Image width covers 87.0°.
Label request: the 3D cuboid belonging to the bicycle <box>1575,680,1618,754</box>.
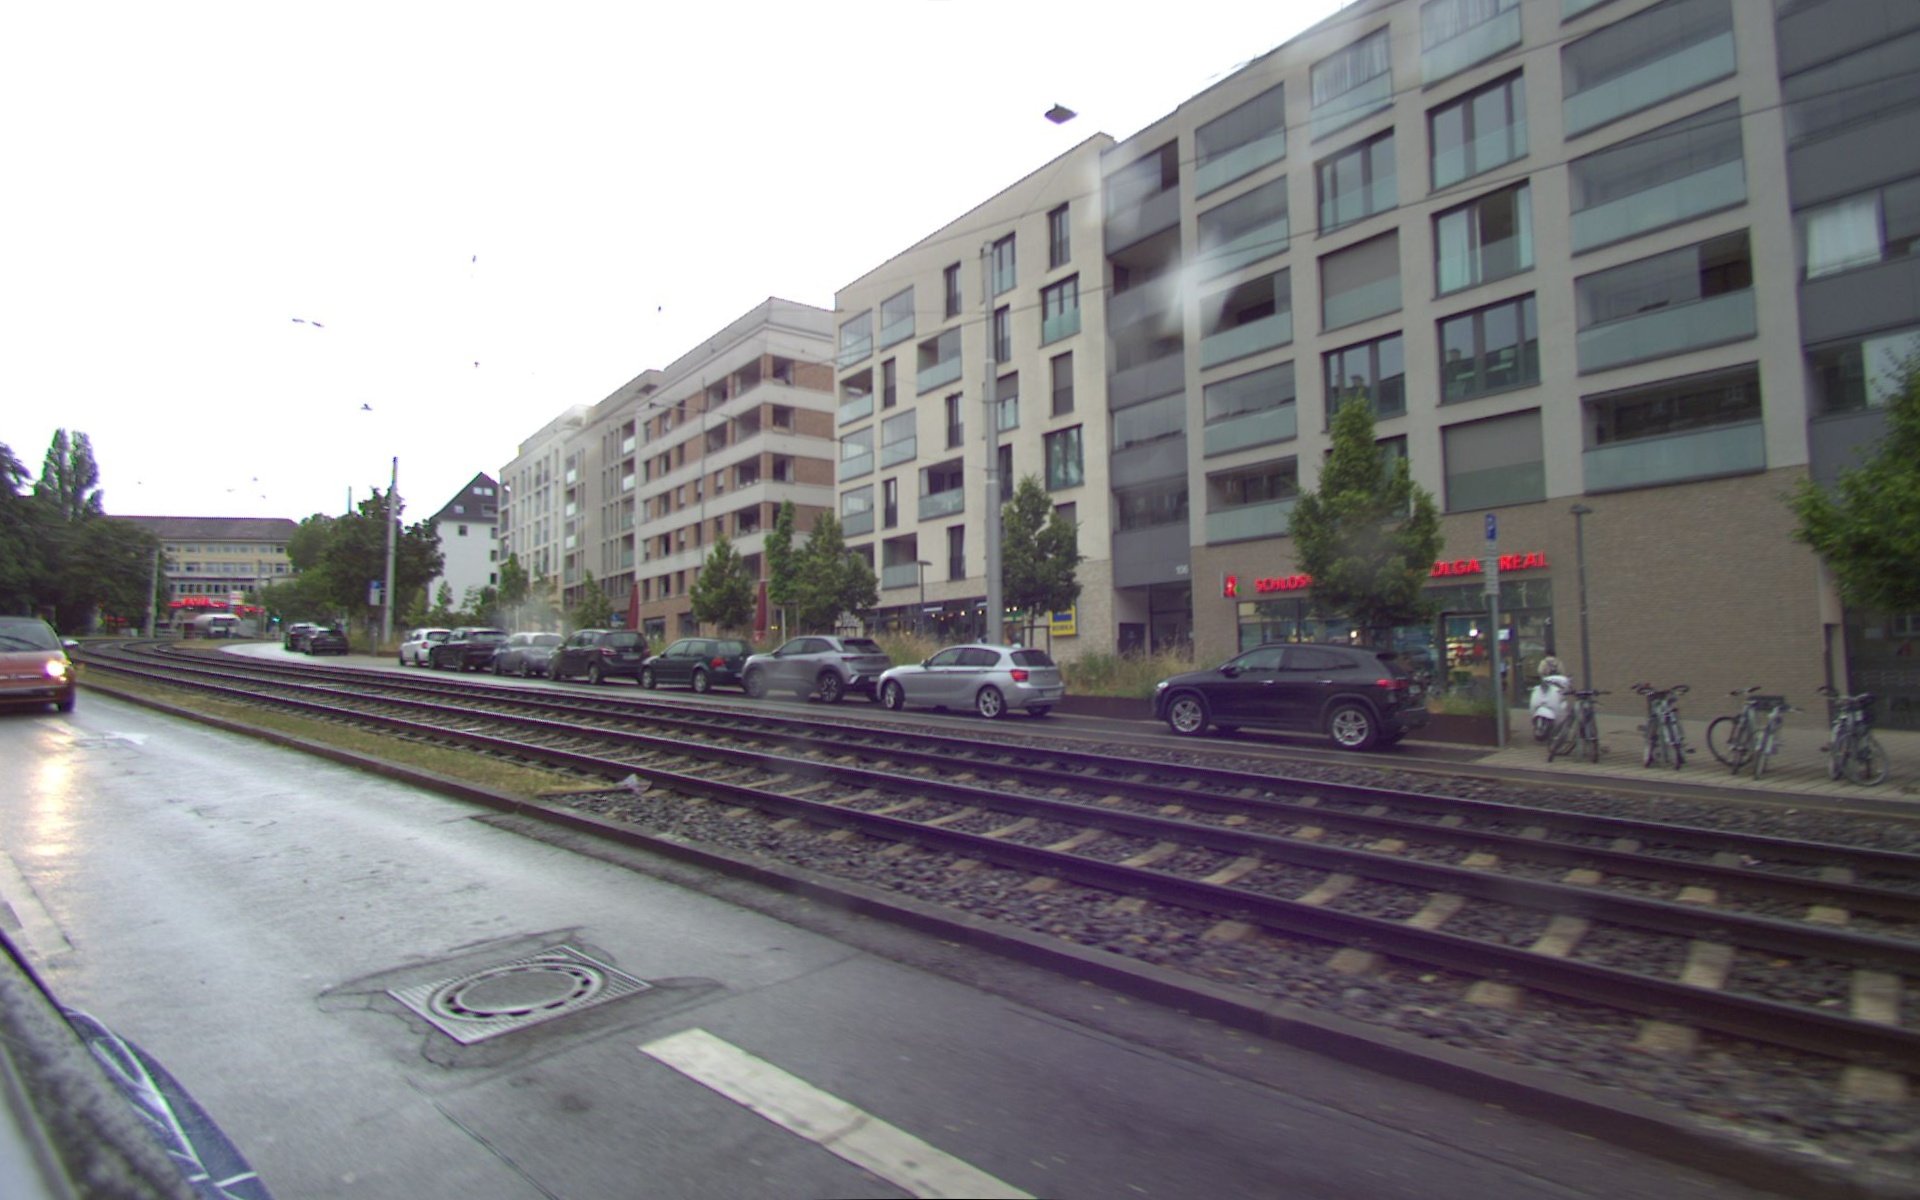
[{"bbox_3d":[9.356,1.684,14.856,0.387,0.924,1.767,0,-1,37],"label":"bicycle"}]

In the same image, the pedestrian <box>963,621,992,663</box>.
[{"bbox_3d":[0.626,1.472,35.776,0.647,1.460,0.805,-1,1,-36],"label":"pedestrian"}]

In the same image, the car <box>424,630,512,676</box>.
[{"bbox_3d":[-18.127,1.901,37.217,1.660,1.516,4.409,0,0,-44],"label":"car"}]

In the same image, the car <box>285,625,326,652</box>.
[{"bbox_3d":[-39.809,2.289,61.528,1.630,1.475,3.676,-1,1,-40],"label":"car"}]

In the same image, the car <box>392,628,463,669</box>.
[{"bbox_3d":[-21.596,1.924,40.980,1.626,1.516,3.785,0,0,-43],"label":"car"}]

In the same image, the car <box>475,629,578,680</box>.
[{"bbox_3d":[-14.609,1.777,34.007,3.927,1.516,1.662,0,0,41],"label":"car"}]

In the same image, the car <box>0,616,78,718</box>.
[{"bbox_3d":[-15.742,1.036,16.489,3.668,1.475,1.573,0,1,41],"label":"car"}]

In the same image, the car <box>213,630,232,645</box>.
[{"bbox_3d":[-86.880,4.374,119.247,1.641,1.619,3.819,-1,1,-33],"label":"car"}]

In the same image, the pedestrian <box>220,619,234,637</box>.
[{"bbox_3d":[-74.133,2.874,102.411,0.805,1.777,0.750,2,-4,-9],"label":"pedestrian"}]

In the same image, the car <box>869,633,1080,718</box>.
[{"bbox_3d":[0.212,1.463,20.801,4.327,1.475,1.662,0,0,41],"label":"car"}]

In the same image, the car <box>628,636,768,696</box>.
[{"bbox_3d":[-7.066,1.704,27.080,4.031,1.391,1.662,0,0,41],"label":"car"}]

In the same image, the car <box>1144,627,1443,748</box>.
[{"bbox_3d":[5.287,1.297,16.419,4.327,1.616,1.662,0,0,41],"label":"car"}]

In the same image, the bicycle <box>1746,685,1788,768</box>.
[{"bbox_3d":[10.601,1.624,13.313,0.387,0.924,1.767,0,-2,37],"label":"bicycle"}]

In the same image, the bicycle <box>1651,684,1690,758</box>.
[{"bbox_3d":[9.995,1.671,14.217,0.387,0.925,1.767,0,-3,37],"label":"bicycle"}]

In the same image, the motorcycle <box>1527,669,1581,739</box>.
[{"bbox_3d":[9.963,1.716,16.950,0.542,1.050,1.741,1,-1,38],"label":"motorcycle"}]

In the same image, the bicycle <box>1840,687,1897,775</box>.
[{"bbox_3d":[11.497,1.625,12.831,0.387,0.924,1.767,0,-1,37],"label":"bicycle"}]

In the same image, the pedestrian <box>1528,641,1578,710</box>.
[{"bbox_3d":[13.206,1.667,22.535,0.532,1.460,0.805,-1,1,-36],"label":"pedestrian"}]

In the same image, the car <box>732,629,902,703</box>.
[{"bbox_3d":[-3.439,1.494,24.064,4.043,1.541,1.664,0,0,37],"label":"car"}]

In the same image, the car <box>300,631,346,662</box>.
[{"bbox_3d":[-34.537,2.502,54.840,1.630,1.475,3.676,-1,1,-40],"label":"car"}]

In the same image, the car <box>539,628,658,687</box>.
[{"bbox_3d":[-10.819,1.664,30.160,3.927,1.575,1.662,0,0,41],"label":"car"}]
